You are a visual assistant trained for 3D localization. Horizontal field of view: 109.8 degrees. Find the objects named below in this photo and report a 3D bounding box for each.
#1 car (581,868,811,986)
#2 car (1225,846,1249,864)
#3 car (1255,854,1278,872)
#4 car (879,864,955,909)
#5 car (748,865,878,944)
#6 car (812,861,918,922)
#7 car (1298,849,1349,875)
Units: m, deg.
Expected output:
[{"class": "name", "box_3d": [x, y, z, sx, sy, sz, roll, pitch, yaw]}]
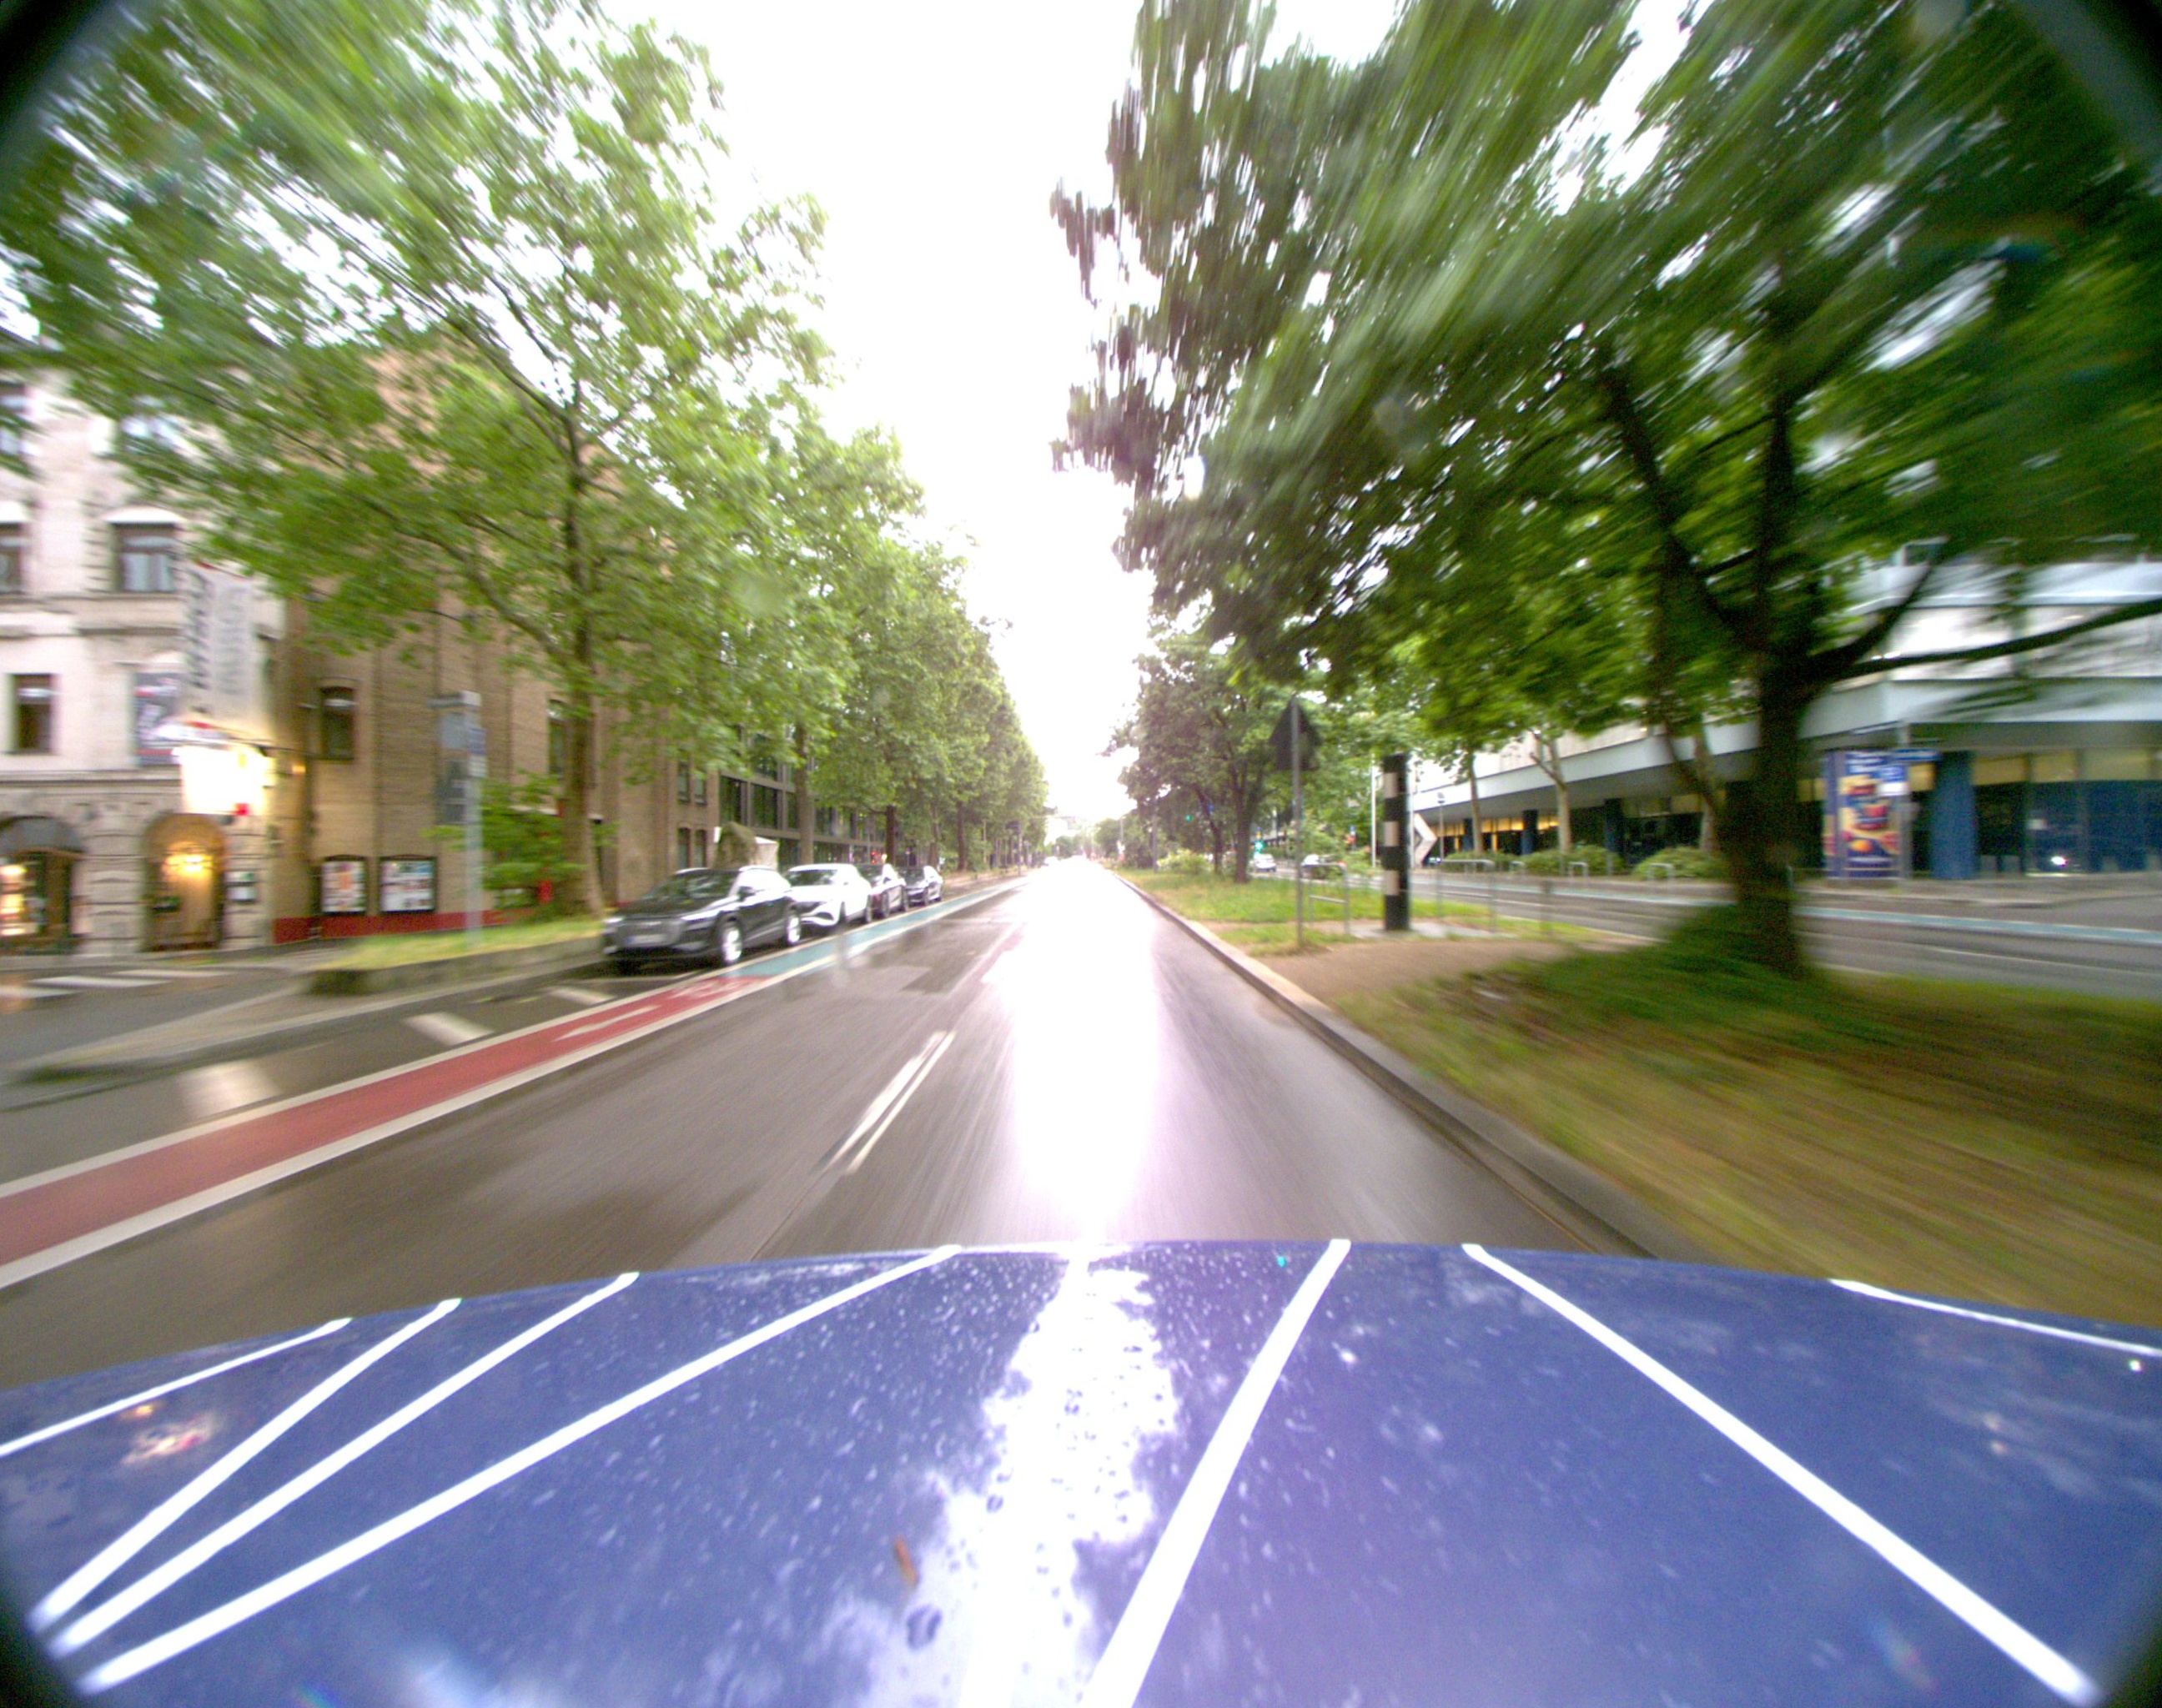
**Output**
[{"class": "car", "box_3d": [-6.509, 1.130, 13.502, 1.797, 1.593, 4.423, -2, 0, -1]}, {"class": "car", "box_3d": [16.497, 0.125, 80.382, 1.998, 1.791, 4.283, -1, 0, 5]}, {"class": "car", "box_3d": [15.357, 0.719, 63.006, 1.163, 1.454, 3.561, -1, 0, 3]}, {"class": "car", "box_3d": [-6.121, 1.171, 28.867, 1.747, 1.424, 4.586, -2, 0, 1]}, {"class": "car", "box_3d": [-6.308, 1.104, 18.423, 1.756, 1.576, 4.409, -2, 0, -3]}, {"class": "car", "box_3d": [-6.505, 1.058, 23.425, 1.999, 1.580, 4.559, -2, 0, -1]}, {"class": "car", "box_3d": [14.686, 0.459, 46.257, 1.998, 1.483, 4.758, 0, 0, 5]}]
